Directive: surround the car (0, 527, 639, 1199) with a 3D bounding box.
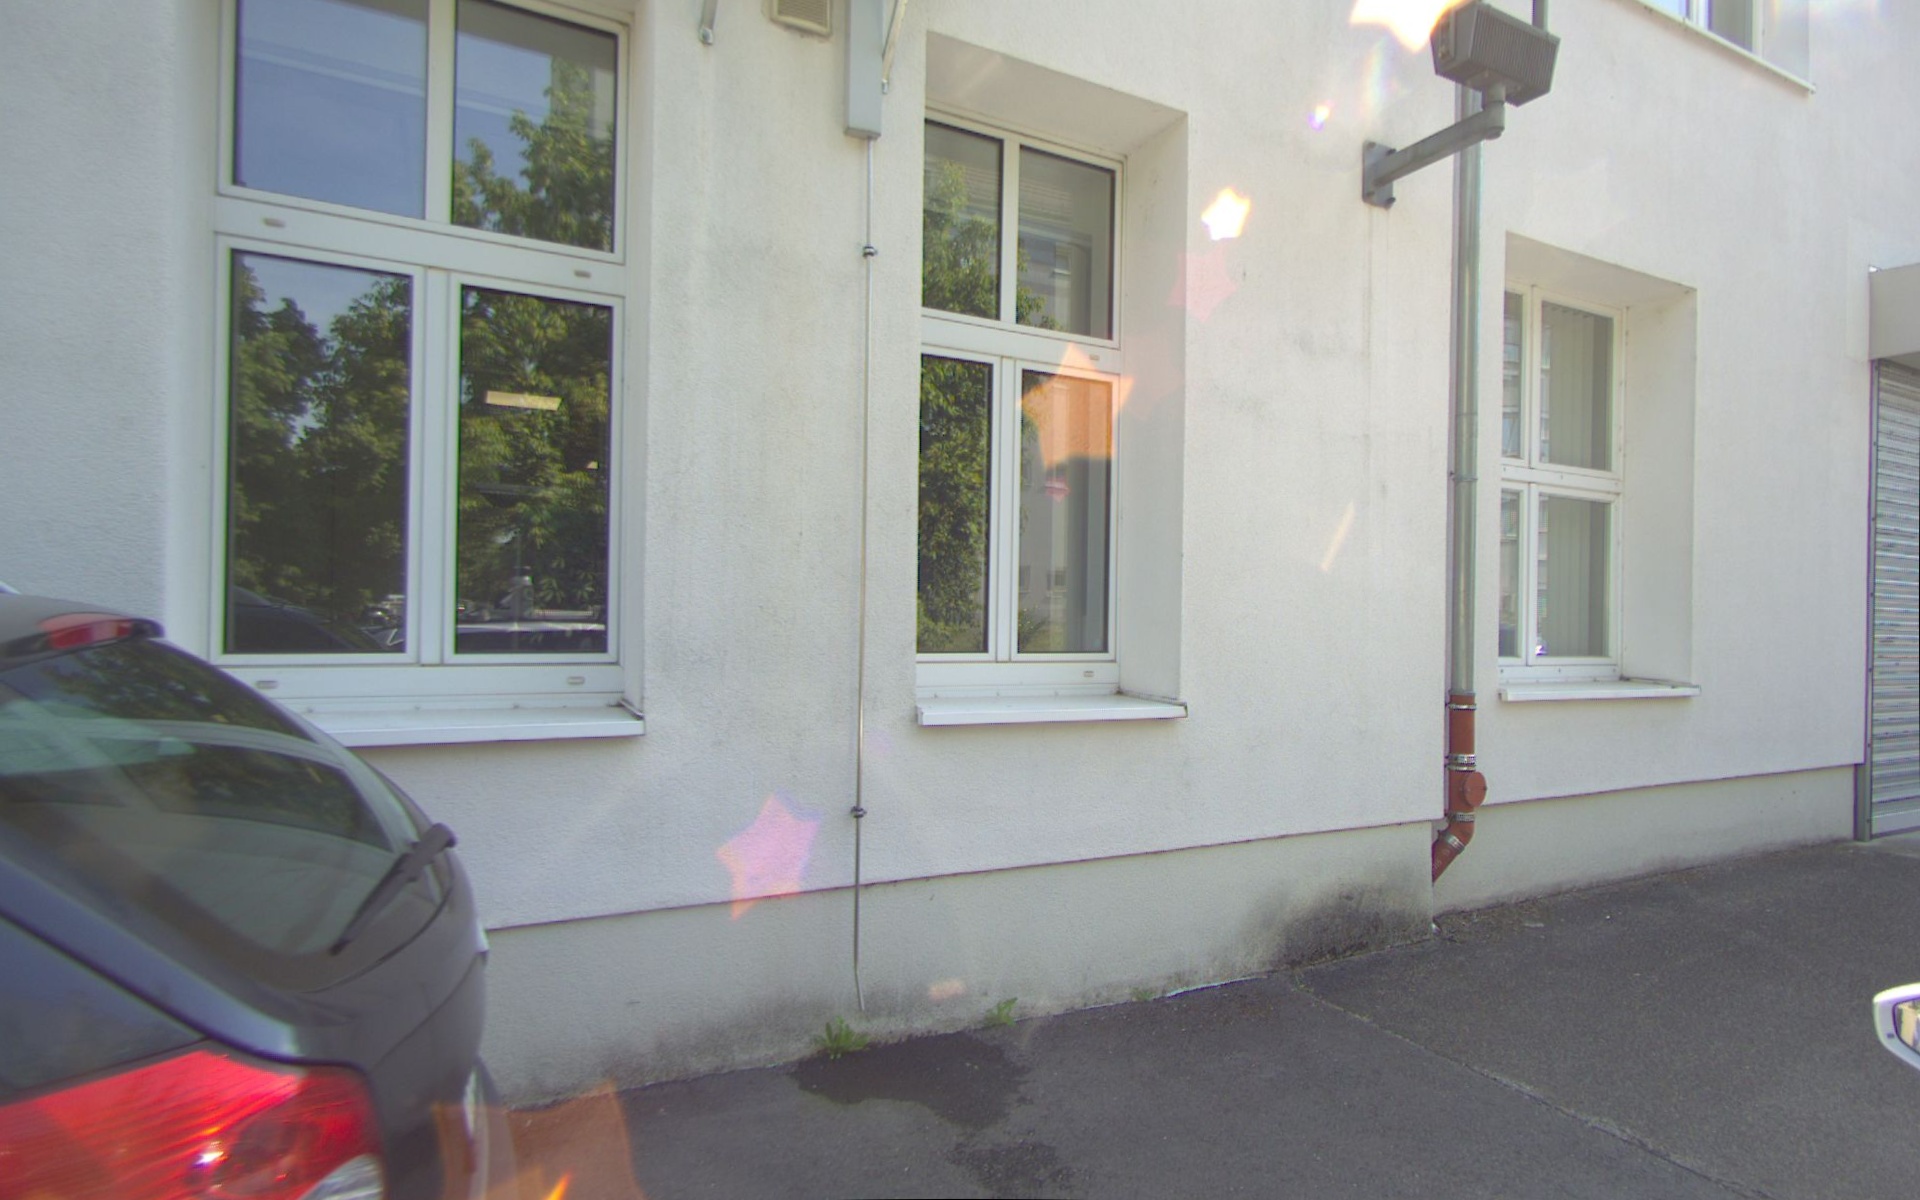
[{"bbox_3d":[-2.635,0.560,0.582,4.375,1.461,1.829,3,1,-28],"label":"car"}]
